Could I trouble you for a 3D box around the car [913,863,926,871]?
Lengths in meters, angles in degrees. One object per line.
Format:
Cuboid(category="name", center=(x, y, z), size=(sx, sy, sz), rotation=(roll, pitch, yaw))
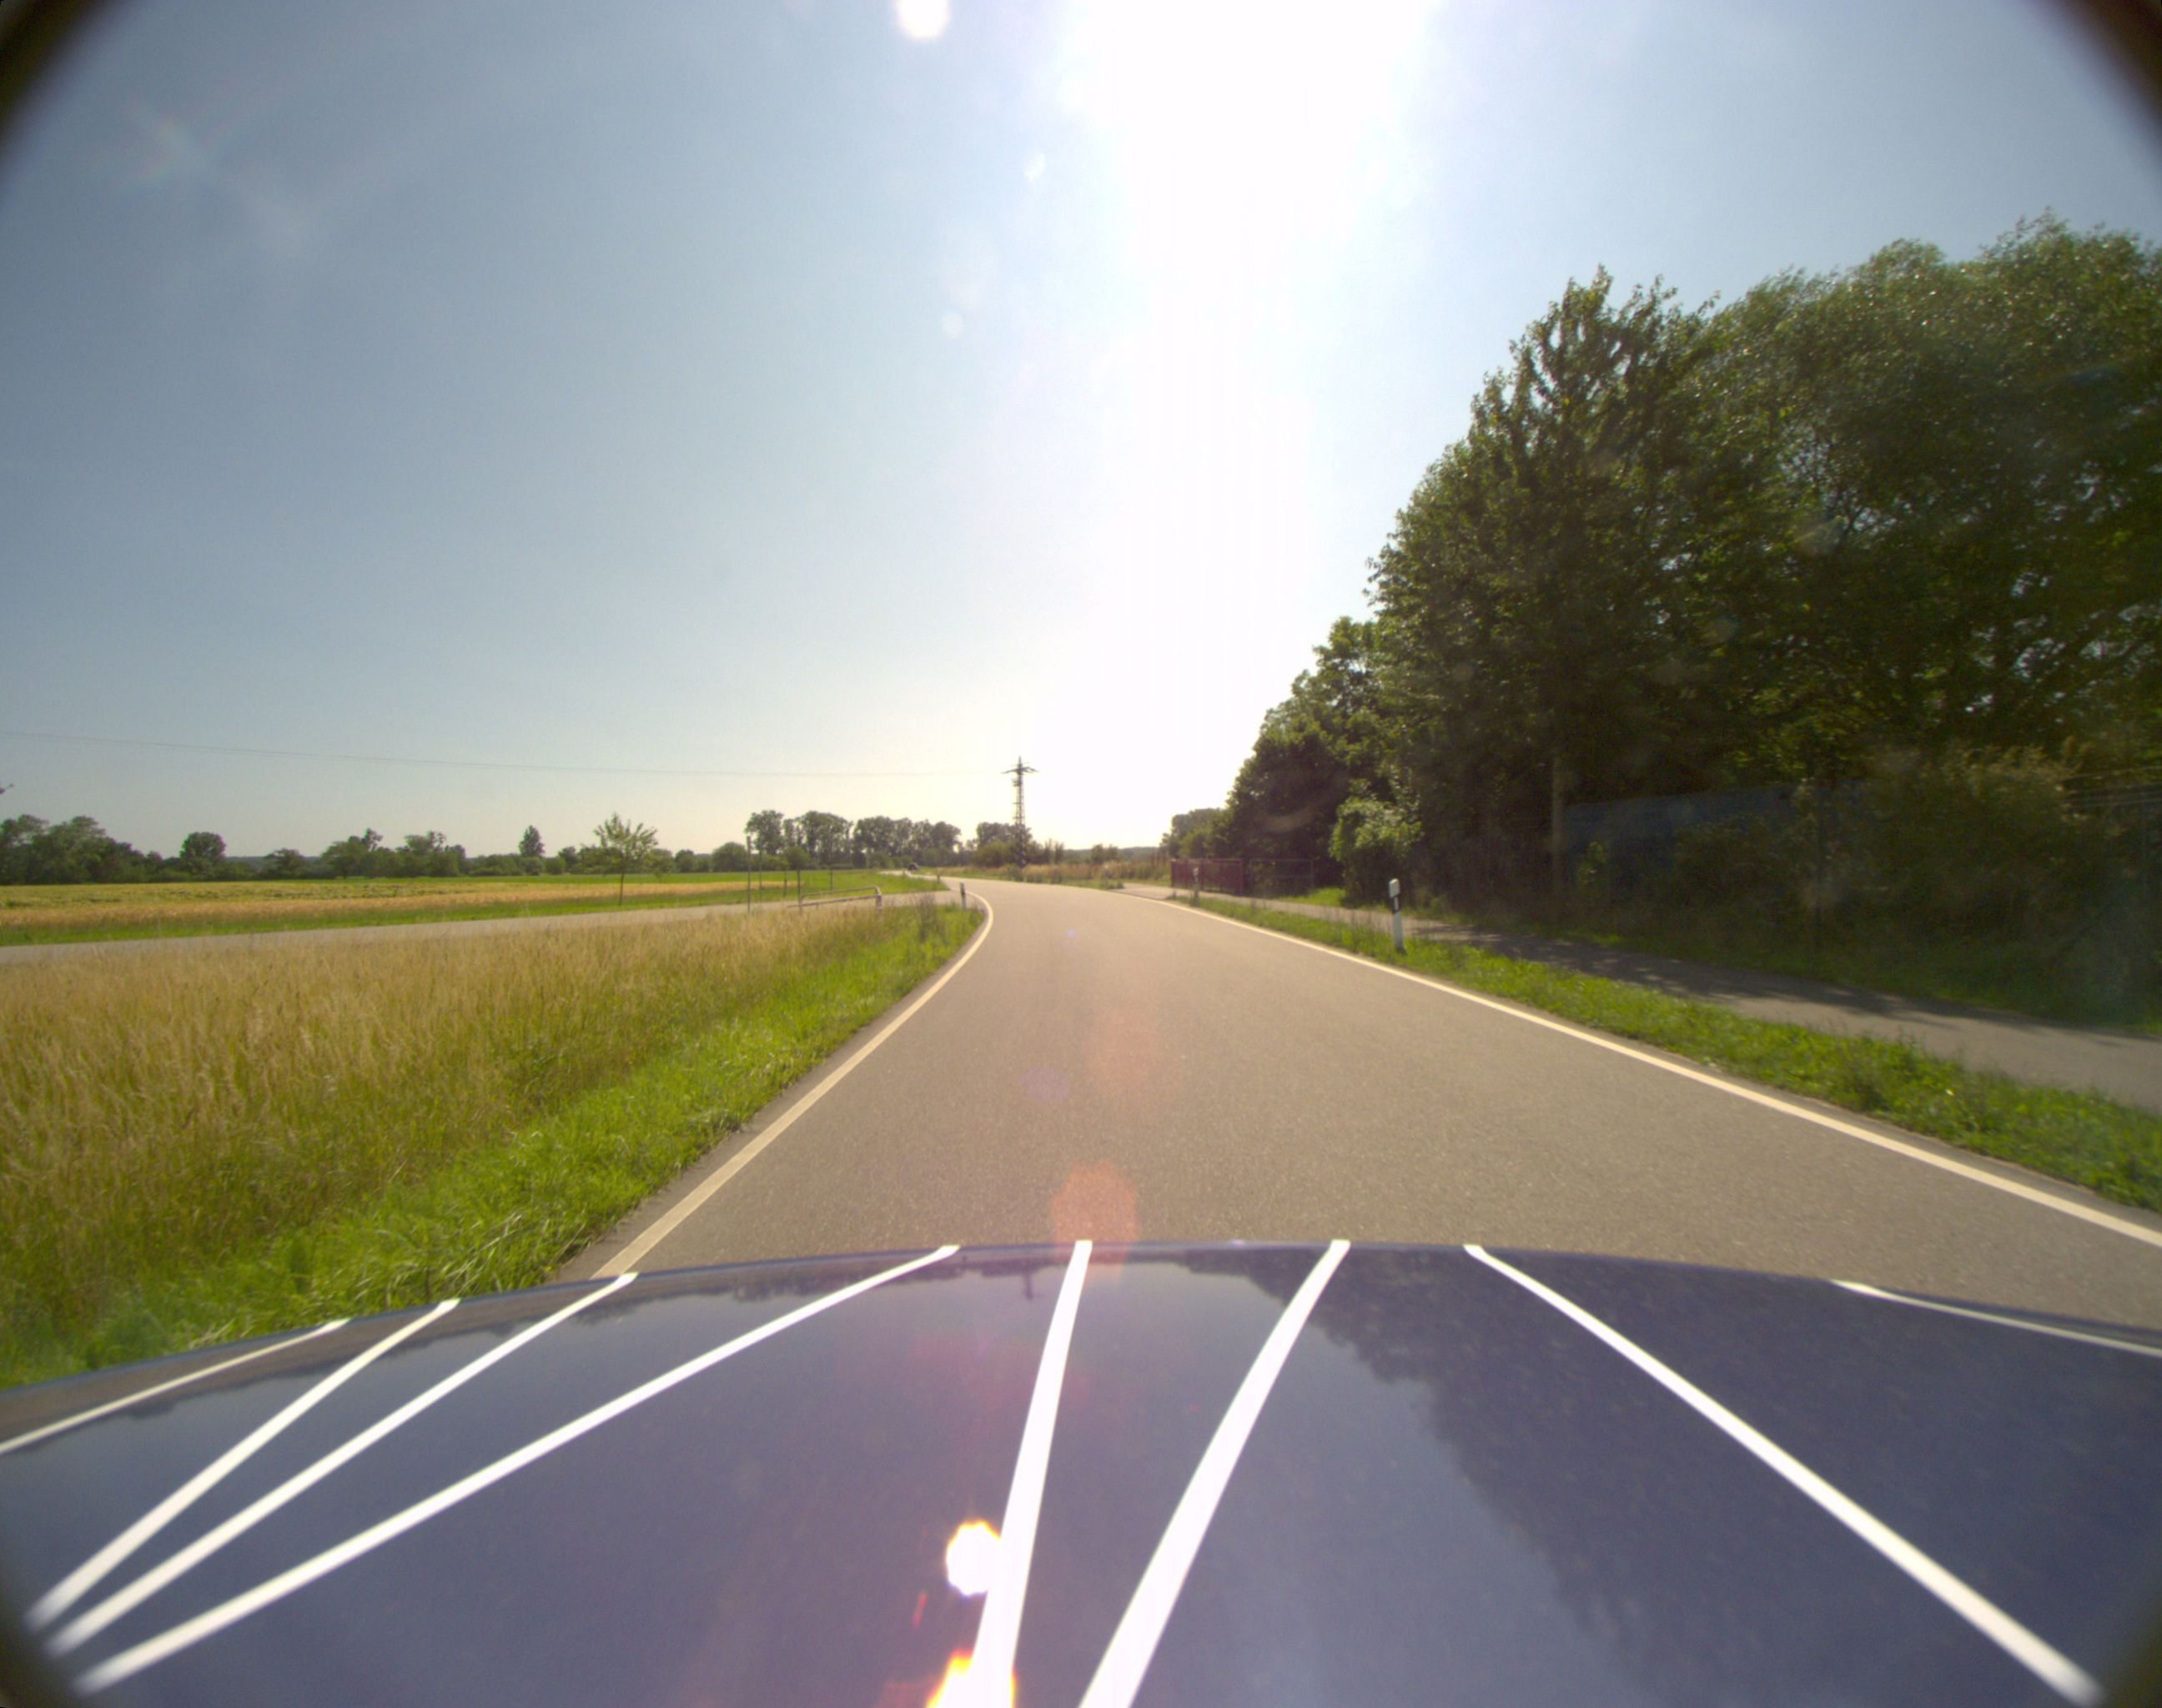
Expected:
Cuboid(category="car", center=(-34.672, 2.753, 163.154), size=(1.870, 1.742, 4.296), rotation=(0, 0, 0))
